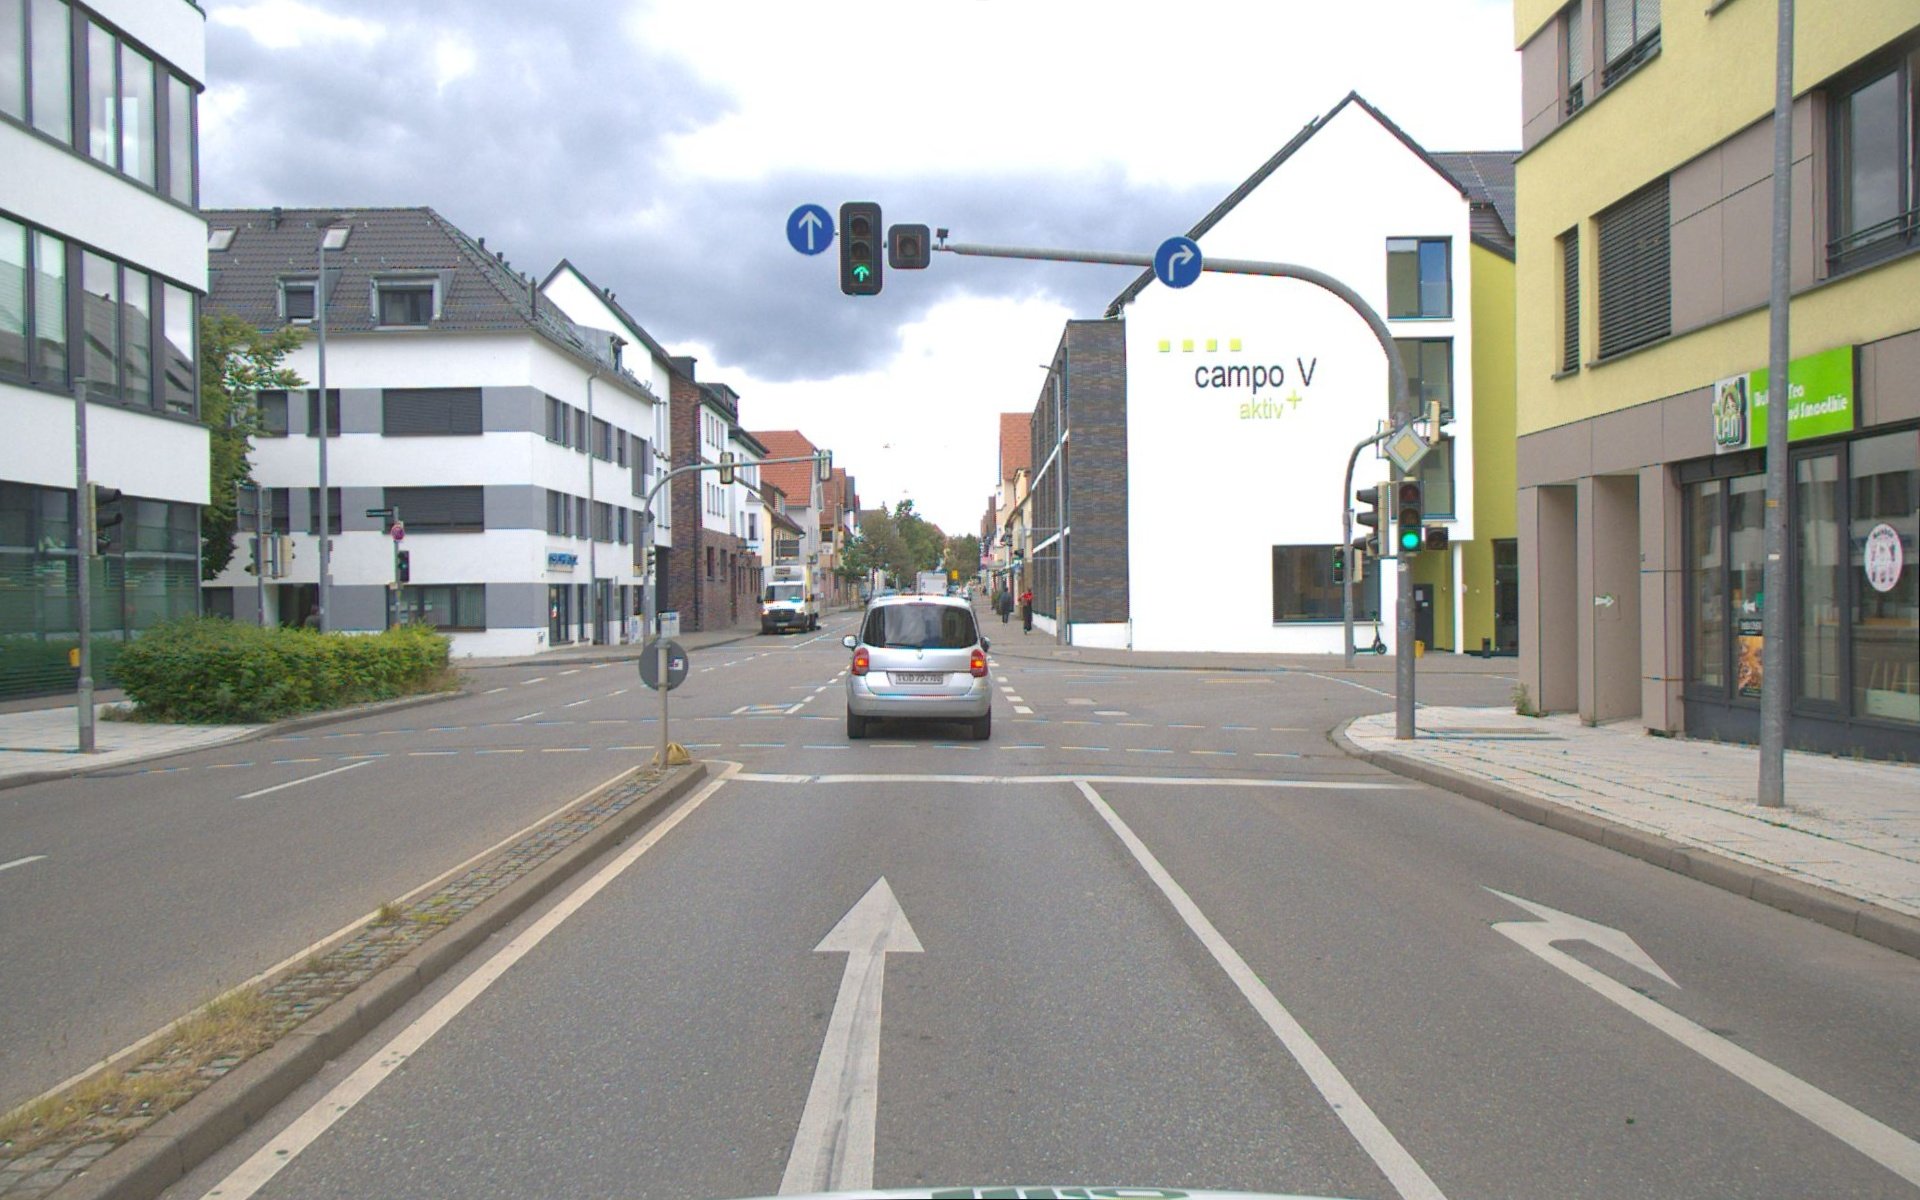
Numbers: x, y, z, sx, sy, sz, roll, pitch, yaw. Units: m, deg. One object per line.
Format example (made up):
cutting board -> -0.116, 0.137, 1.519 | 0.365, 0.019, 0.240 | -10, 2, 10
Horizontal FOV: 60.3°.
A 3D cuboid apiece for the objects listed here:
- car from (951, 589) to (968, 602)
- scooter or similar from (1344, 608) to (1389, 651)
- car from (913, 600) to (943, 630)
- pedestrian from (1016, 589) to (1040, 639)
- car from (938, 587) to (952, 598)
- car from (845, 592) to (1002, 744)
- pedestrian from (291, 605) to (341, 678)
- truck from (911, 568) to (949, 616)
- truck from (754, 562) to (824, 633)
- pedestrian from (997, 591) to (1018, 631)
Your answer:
car -> -0.060, -0.493, 175.262 | 1.775, 1.377, 4.000 | -2, 1, 0
scooter or similar -> 11.920, 0.862, 48.477 | 1.205, 1.257, 0.406 | 1, 0, 0
car -> -1.846, 0.848, 95.484 | 1.672, 1.606, 3.999 | 1, 0, -1
pedestrian -> 2.564, 0.513, 62.422 | 0.791, 1.818, 0.861 | -3, 0, 0
car -> -1.993, -1.065, 223.564 | 1.775, 1.377, 4.000 | -2, 1, 0
car -> -0.423, 0.724, 19.842 | 1.672, 1.606, 3.999 | 1, 0, -1
pedestrian -> -15.659, 0.993, 40.211 | 0.877, 1.698, 0.802 | -3, 4, -41
truck -> -2.566, -0.664, 140.360 | 2.546, 3.925, 6.838 | -1, 0, -7
truck -> -7.713, -0.143, 75.362 | 2.385, 3.005, 8.363 | -1, 0, -1
pedestrian -> 2.284, 0.529, 79.388 | 0.871, 1.818, 0.785 | -3, 0, 0
